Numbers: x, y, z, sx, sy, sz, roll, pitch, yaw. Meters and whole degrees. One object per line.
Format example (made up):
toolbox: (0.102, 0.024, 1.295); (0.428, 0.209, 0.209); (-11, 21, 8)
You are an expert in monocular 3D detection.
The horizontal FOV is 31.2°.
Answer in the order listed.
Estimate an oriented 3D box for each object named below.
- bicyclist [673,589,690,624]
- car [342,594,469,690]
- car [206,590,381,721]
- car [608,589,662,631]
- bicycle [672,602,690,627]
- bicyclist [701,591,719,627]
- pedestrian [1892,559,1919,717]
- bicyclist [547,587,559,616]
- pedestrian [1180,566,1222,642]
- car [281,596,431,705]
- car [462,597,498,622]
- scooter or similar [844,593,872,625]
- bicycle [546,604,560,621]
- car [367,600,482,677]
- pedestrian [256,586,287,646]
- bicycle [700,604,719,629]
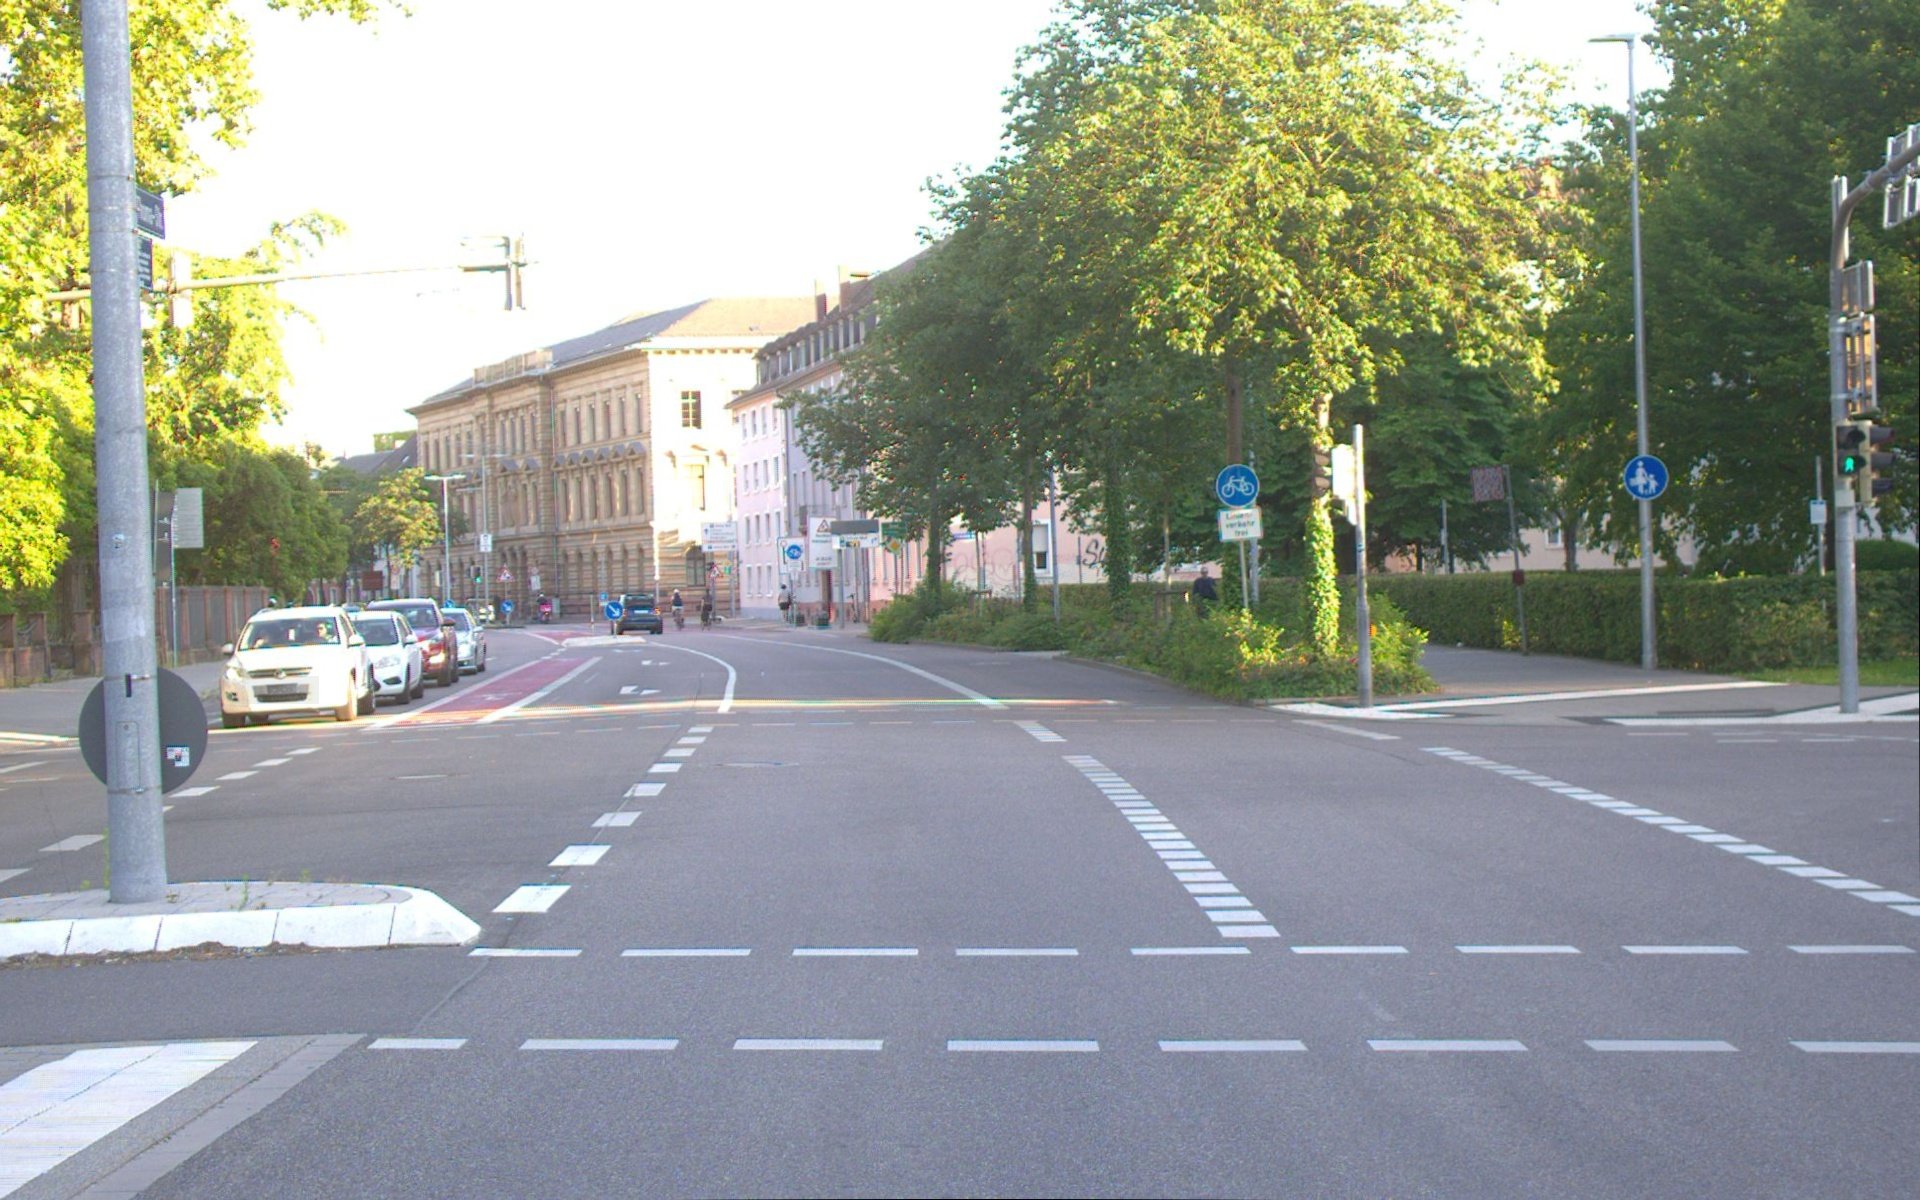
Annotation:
bicyclist: (-11.477, 0.267, 141.638); (0.652, 1.441, 0.879); (1, 0, -7)
car: (-10.418, 0.752, 64.853); (1.916, 1.619, 4.639); (-3, 1, -5)
car: (-9.562, 0.761, 49.630); (1.916, 1.690, 4.427); (-3, 0, -5)
car: (-12.160, 0.369, 128.451); (1.867, 1.505, 4.001); (-1, 0, -8)
bicycle: (-11.489, 0.579, 141.668); (0.652, 1.012, 2.198); (1, 0, -7)
bicyclist: (-10.308, 0.369, 141.745); (0.652, 1.470, 0.941); (1, 0, -1)
pedestrian: (10.184, 0.382, 35.807); (0.681, 1.617, 0.845); (-2, 1, -1)
bicyclist: (-24.099, 0.105, 203.648); (0.652, 1.692, 0.957); (1, 0, -10)
pedestrian: (5.641, 0.093, 80.447); (0.769, 1.733, 0.807); (-2, 0, -10)
car: (-9.869, 0.796, 56.466); (1.916, 1.578, 4.675); (-4, 1, -5)
car: (-29.346, 0.561, 210.023); (1.916, 1.413, 4.771); (-4, 1, -10)
scooter or similar: (-4.288, 0.385, 144.644); (0.629, 1.332, 2.401); (-1, 0, -14)
bicycle: (-24.137, 0.749, 203.828); (0.652, 1.012, 2.198); (1, 0, -10)
car: (-11.022, 0.764, 71.062); (1.916, 1.413, 4.771); (-4, 1, -5)
pedestrian: (-18.907, 0.427, 94.382); (0.681, 1.617, 0.688); (-2, 0, -1)
bicycle: (-10.313, 0.683, 141.771); (0.652, 1.012, 2.198); (1, 0, -1)
